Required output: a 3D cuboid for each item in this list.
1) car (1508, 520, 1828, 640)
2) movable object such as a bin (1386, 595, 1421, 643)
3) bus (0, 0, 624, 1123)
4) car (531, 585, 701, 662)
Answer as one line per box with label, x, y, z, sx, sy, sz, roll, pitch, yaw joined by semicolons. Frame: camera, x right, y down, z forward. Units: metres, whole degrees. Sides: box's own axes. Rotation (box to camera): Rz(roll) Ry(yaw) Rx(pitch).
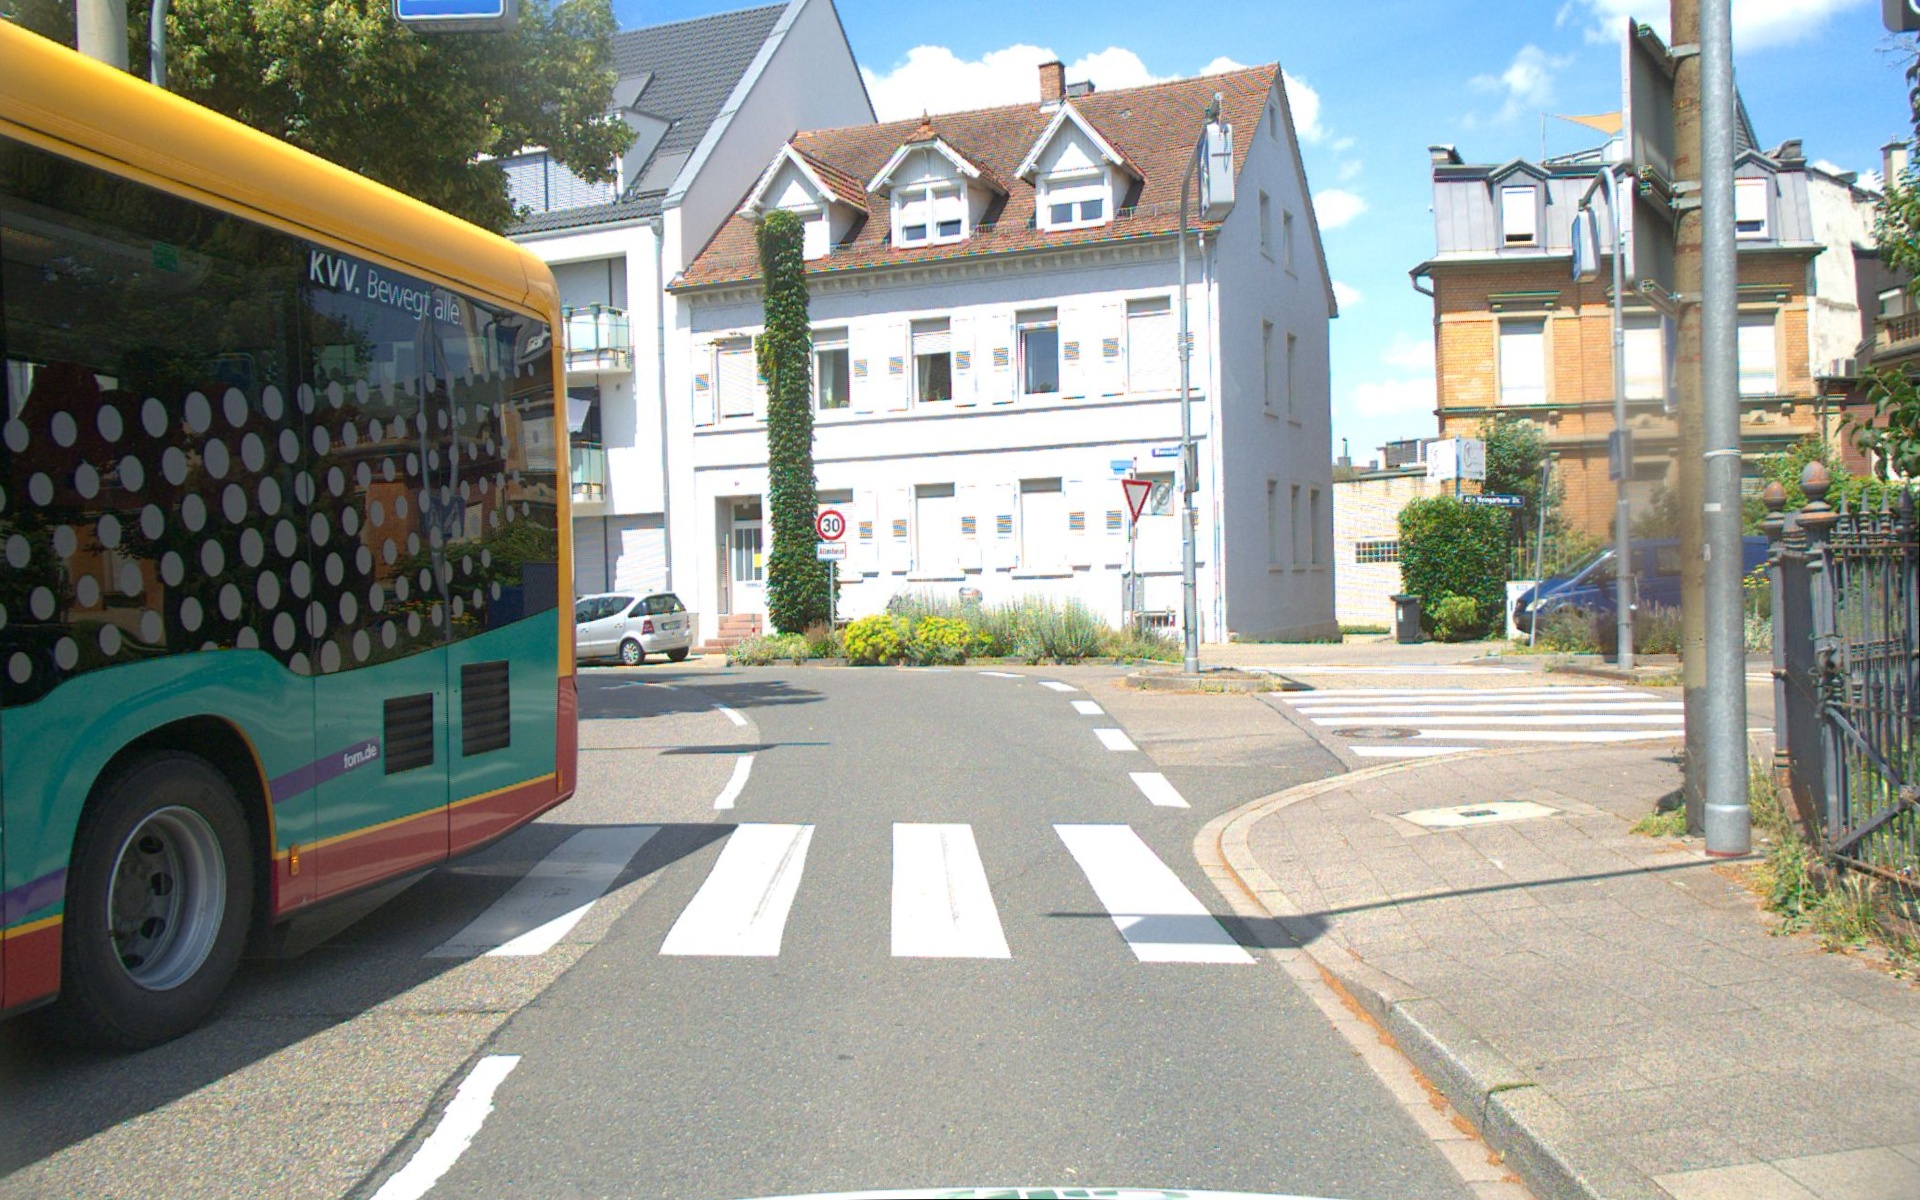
car;13.158;-0.375;31.048;5.114;1.981;2.085;-2;1;8
movable object such as a bin;8.741;0.370;32.578;0.413;0.932;0.555;1;-1;-25
bus;-4.230;-0.204;2.854;2.720;3.264;12.318;0;1;11
car;-7.616;0.522;36.547;3.539;1.614;1.581;-1;-1;31
